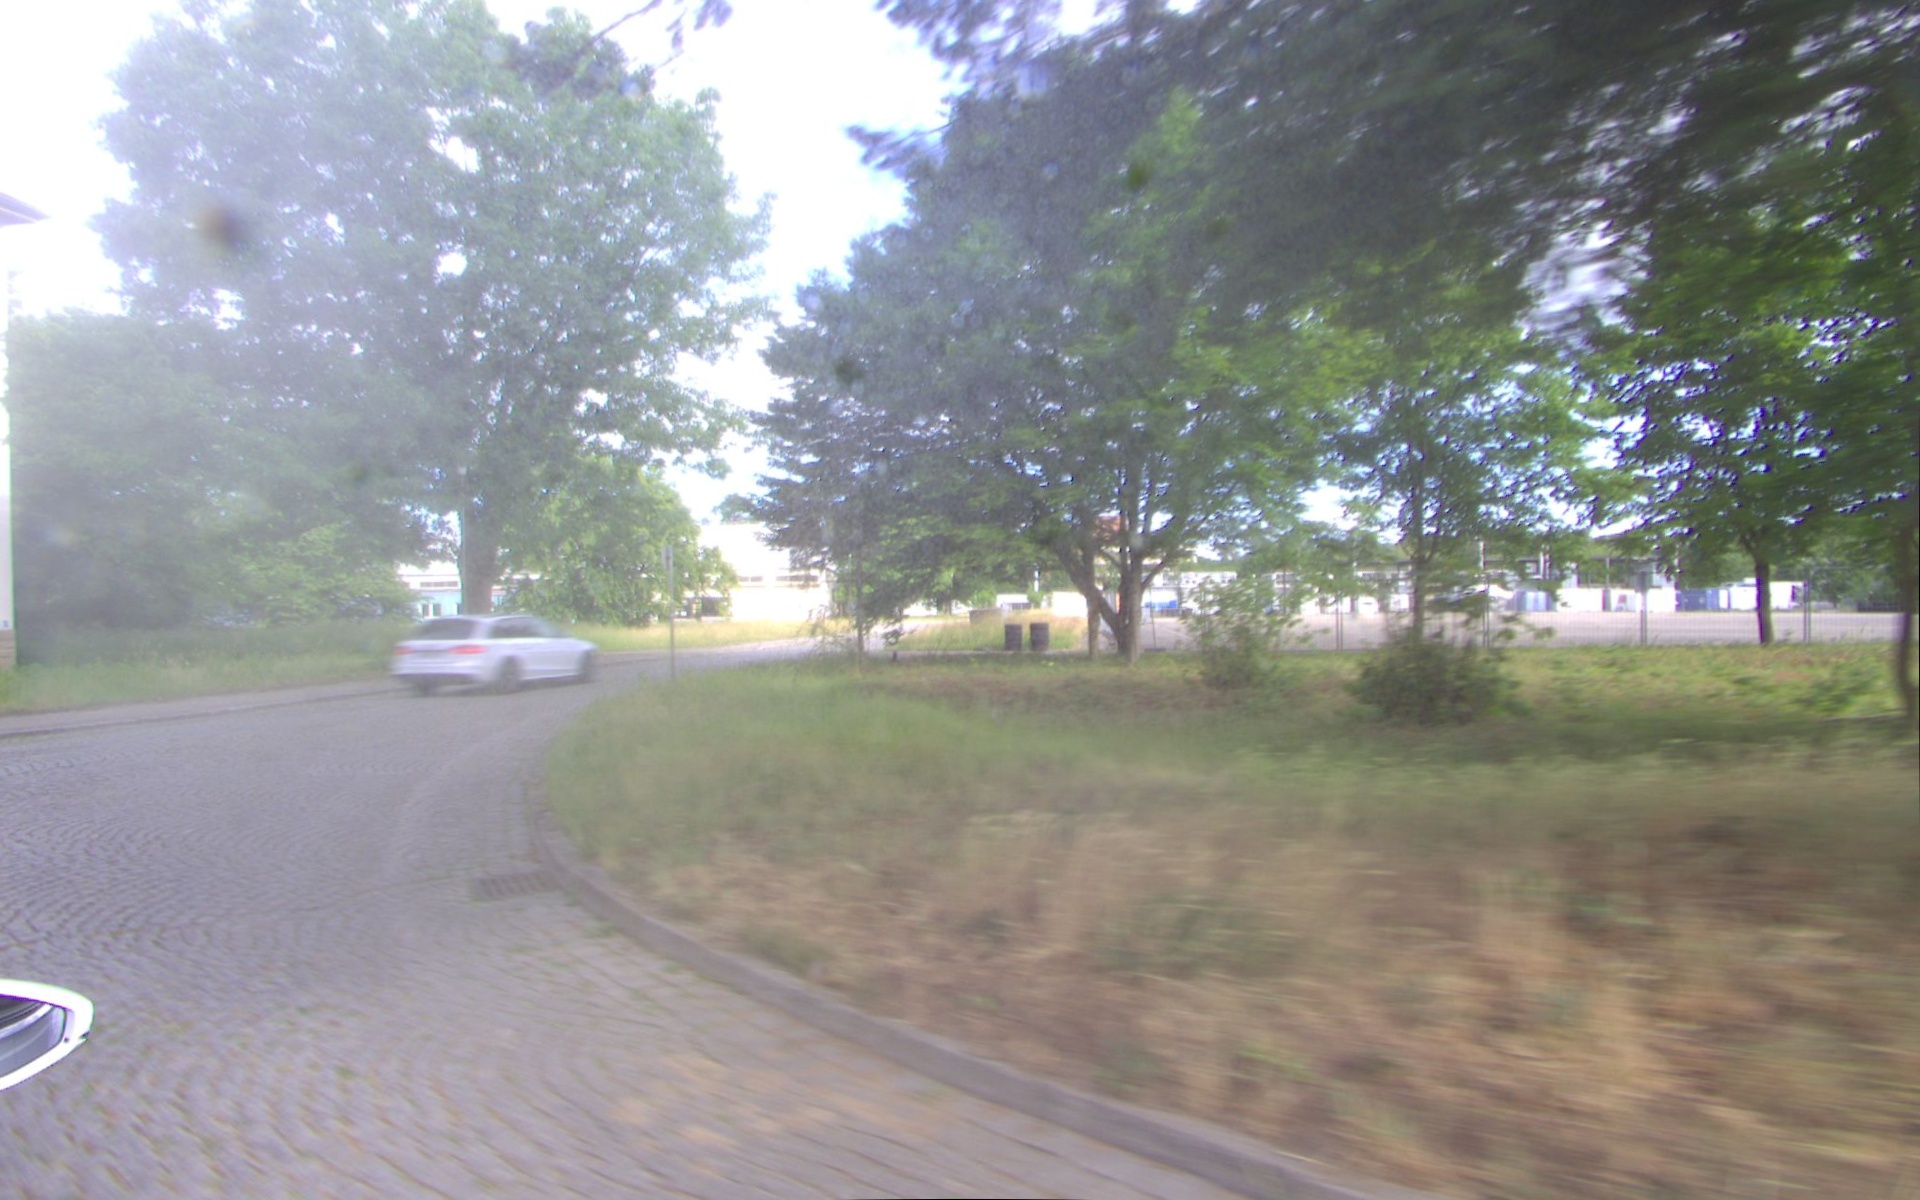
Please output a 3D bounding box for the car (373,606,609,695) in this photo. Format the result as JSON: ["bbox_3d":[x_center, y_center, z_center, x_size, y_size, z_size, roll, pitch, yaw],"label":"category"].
[{"bbox_3d":[-8.683,0.873,19.103,1.819,1.456,4.705,-1,0,7],"label":"car"}]
